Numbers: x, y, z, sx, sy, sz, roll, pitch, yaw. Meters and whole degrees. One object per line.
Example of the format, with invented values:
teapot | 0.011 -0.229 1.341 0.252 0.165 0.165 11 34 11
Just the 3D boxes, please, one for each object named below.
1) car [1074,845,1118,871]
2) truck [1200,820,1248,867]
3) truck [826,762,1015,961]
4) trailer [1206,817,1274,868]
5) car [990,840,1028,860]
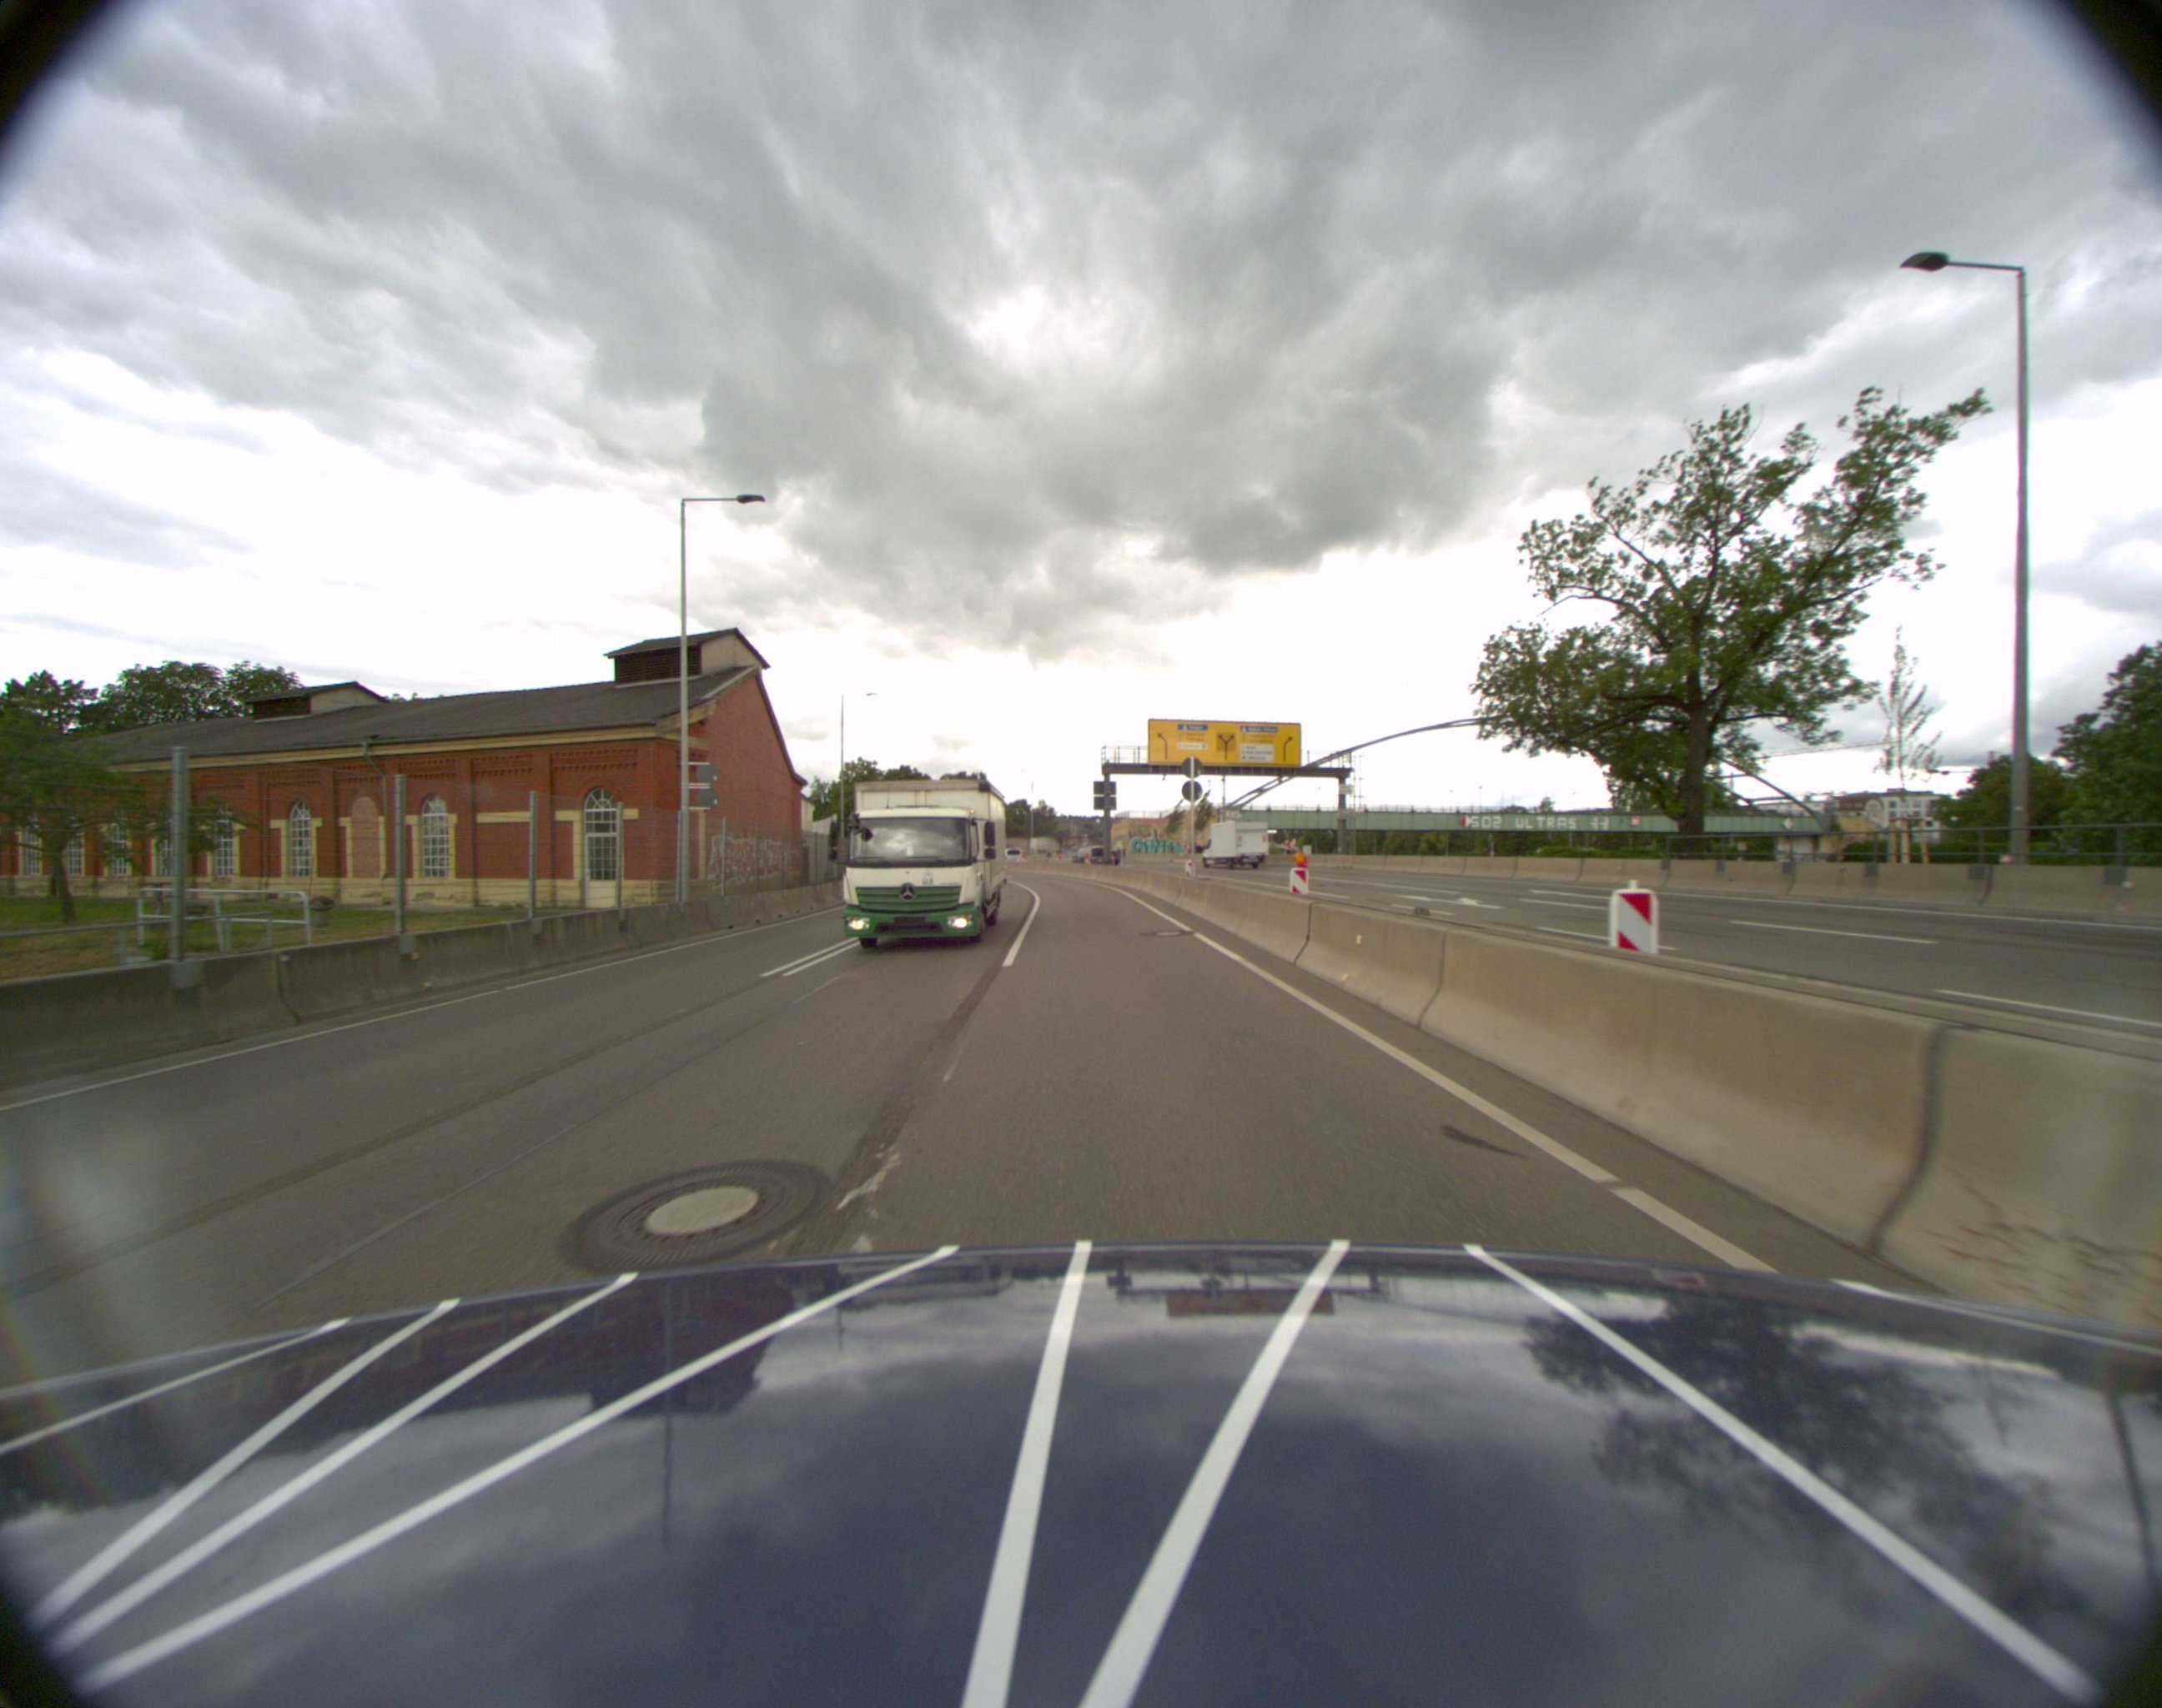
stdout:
car | 1.092 0.307 57.872 1.909 1.795 4.948 -3 0 -16
truck | 9.901 -0.698 52.765 2.280 3.096 2.984 -3 1 -10
truck | -3.019 0.138 16.498 2.637 3.220 7.414 -3 0 -2
trailer | 10.379 -0.732 50.208 2.280 3.120 5.705 -3 1 -10
car | -7.212 -0.394 75.678 1.960 1.796 5.781 -3 1 -23
